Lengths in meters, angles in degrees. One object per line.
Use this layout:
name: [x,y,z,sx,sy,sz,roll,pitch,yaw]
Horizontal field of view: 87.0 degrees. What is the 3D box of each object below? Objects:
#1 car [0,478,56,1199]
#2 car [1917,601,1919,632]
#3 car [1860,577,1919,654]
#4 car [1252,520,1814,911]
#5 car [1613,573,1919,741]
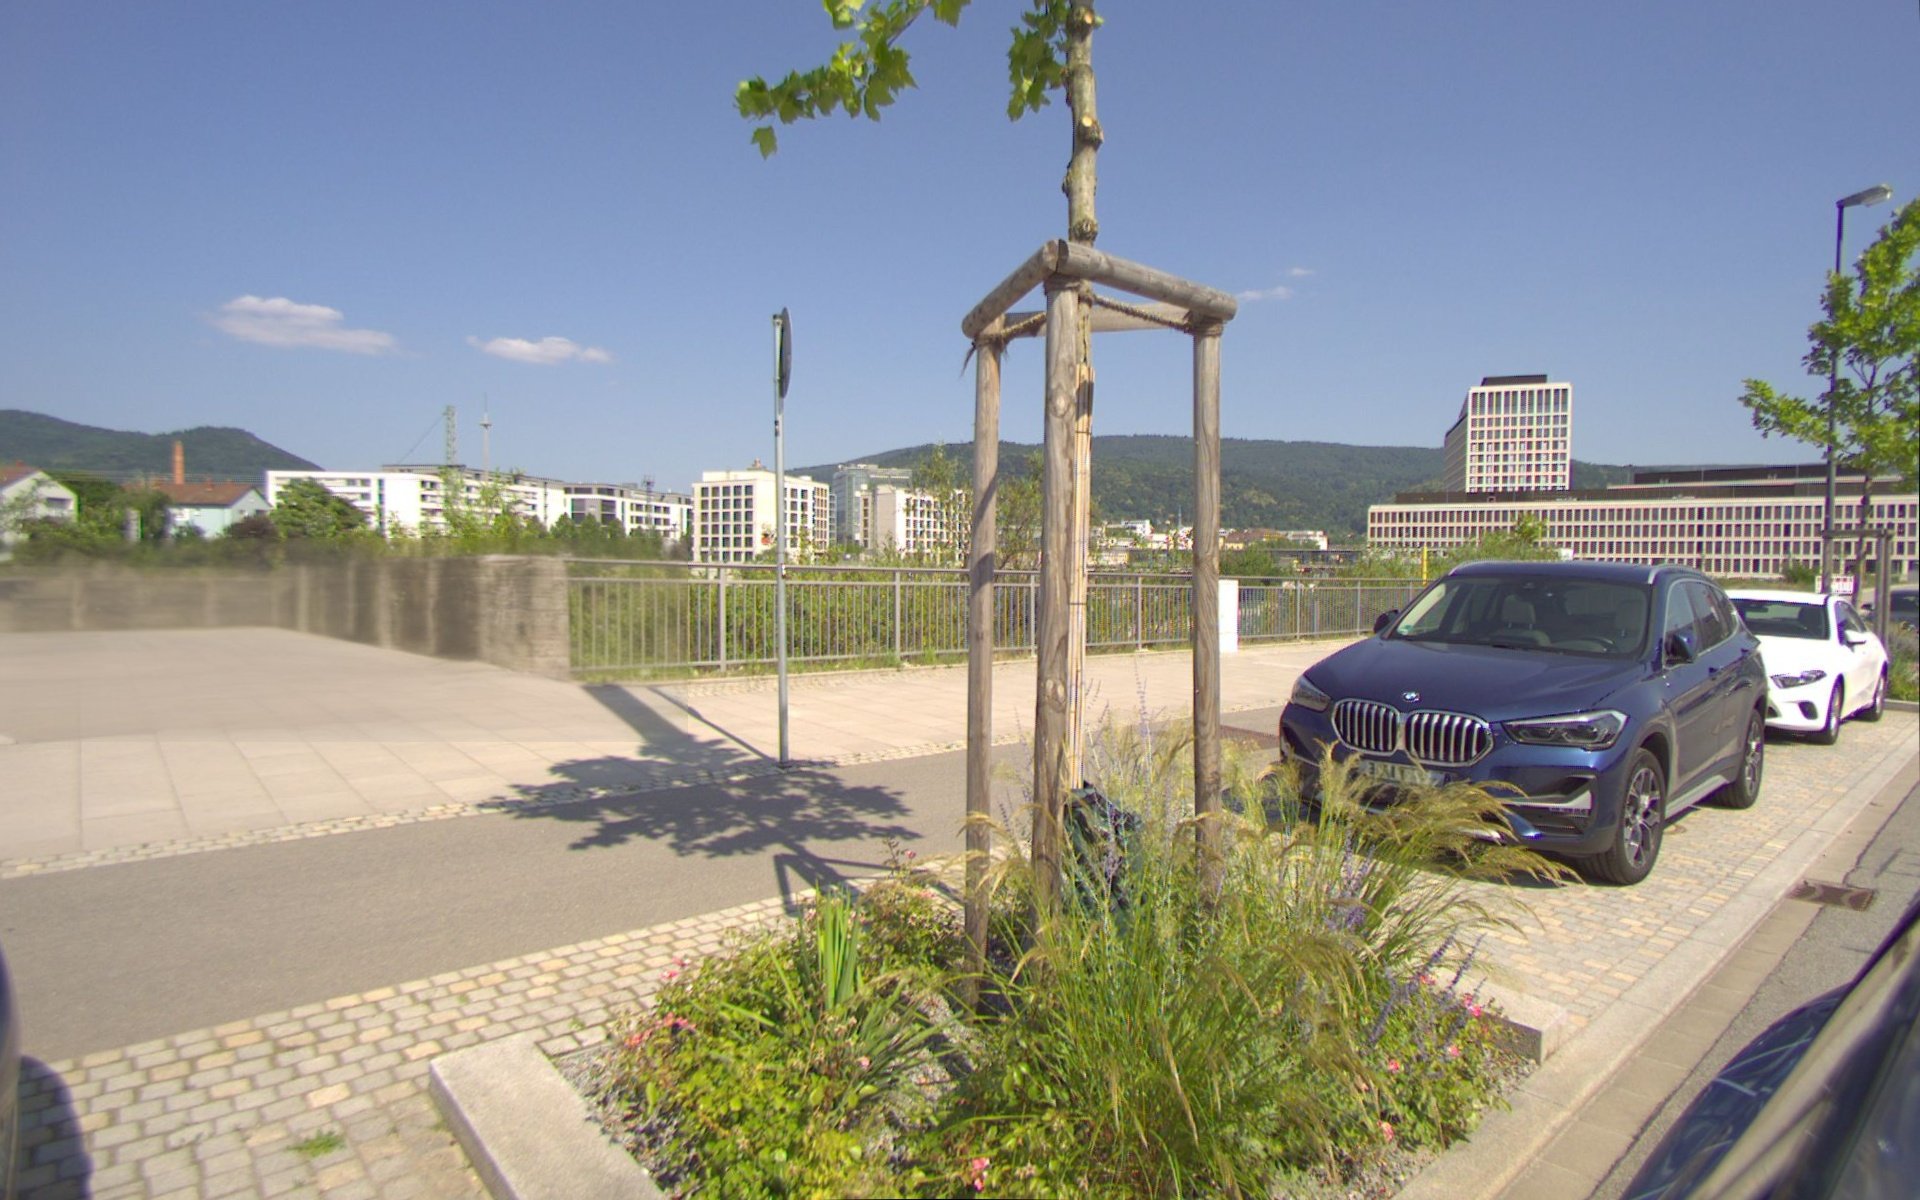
car: [-2.813,0.606,0.502,3.485,1.574,1.585,0,4,-42]
car: [27.602,0.142,27.791,2.955,1.491,1.569,-1,5,-41]
car: [20.232,0.297,20.999,3.849,1.449,1.808,-1,5,-41]
car: [3.845,0.416,6.461,4.197,1.703,1.807,-1,4,-41]
car: [8.853,0.455,10.981,4.194,1.390,1.711,-1,5,-39]
